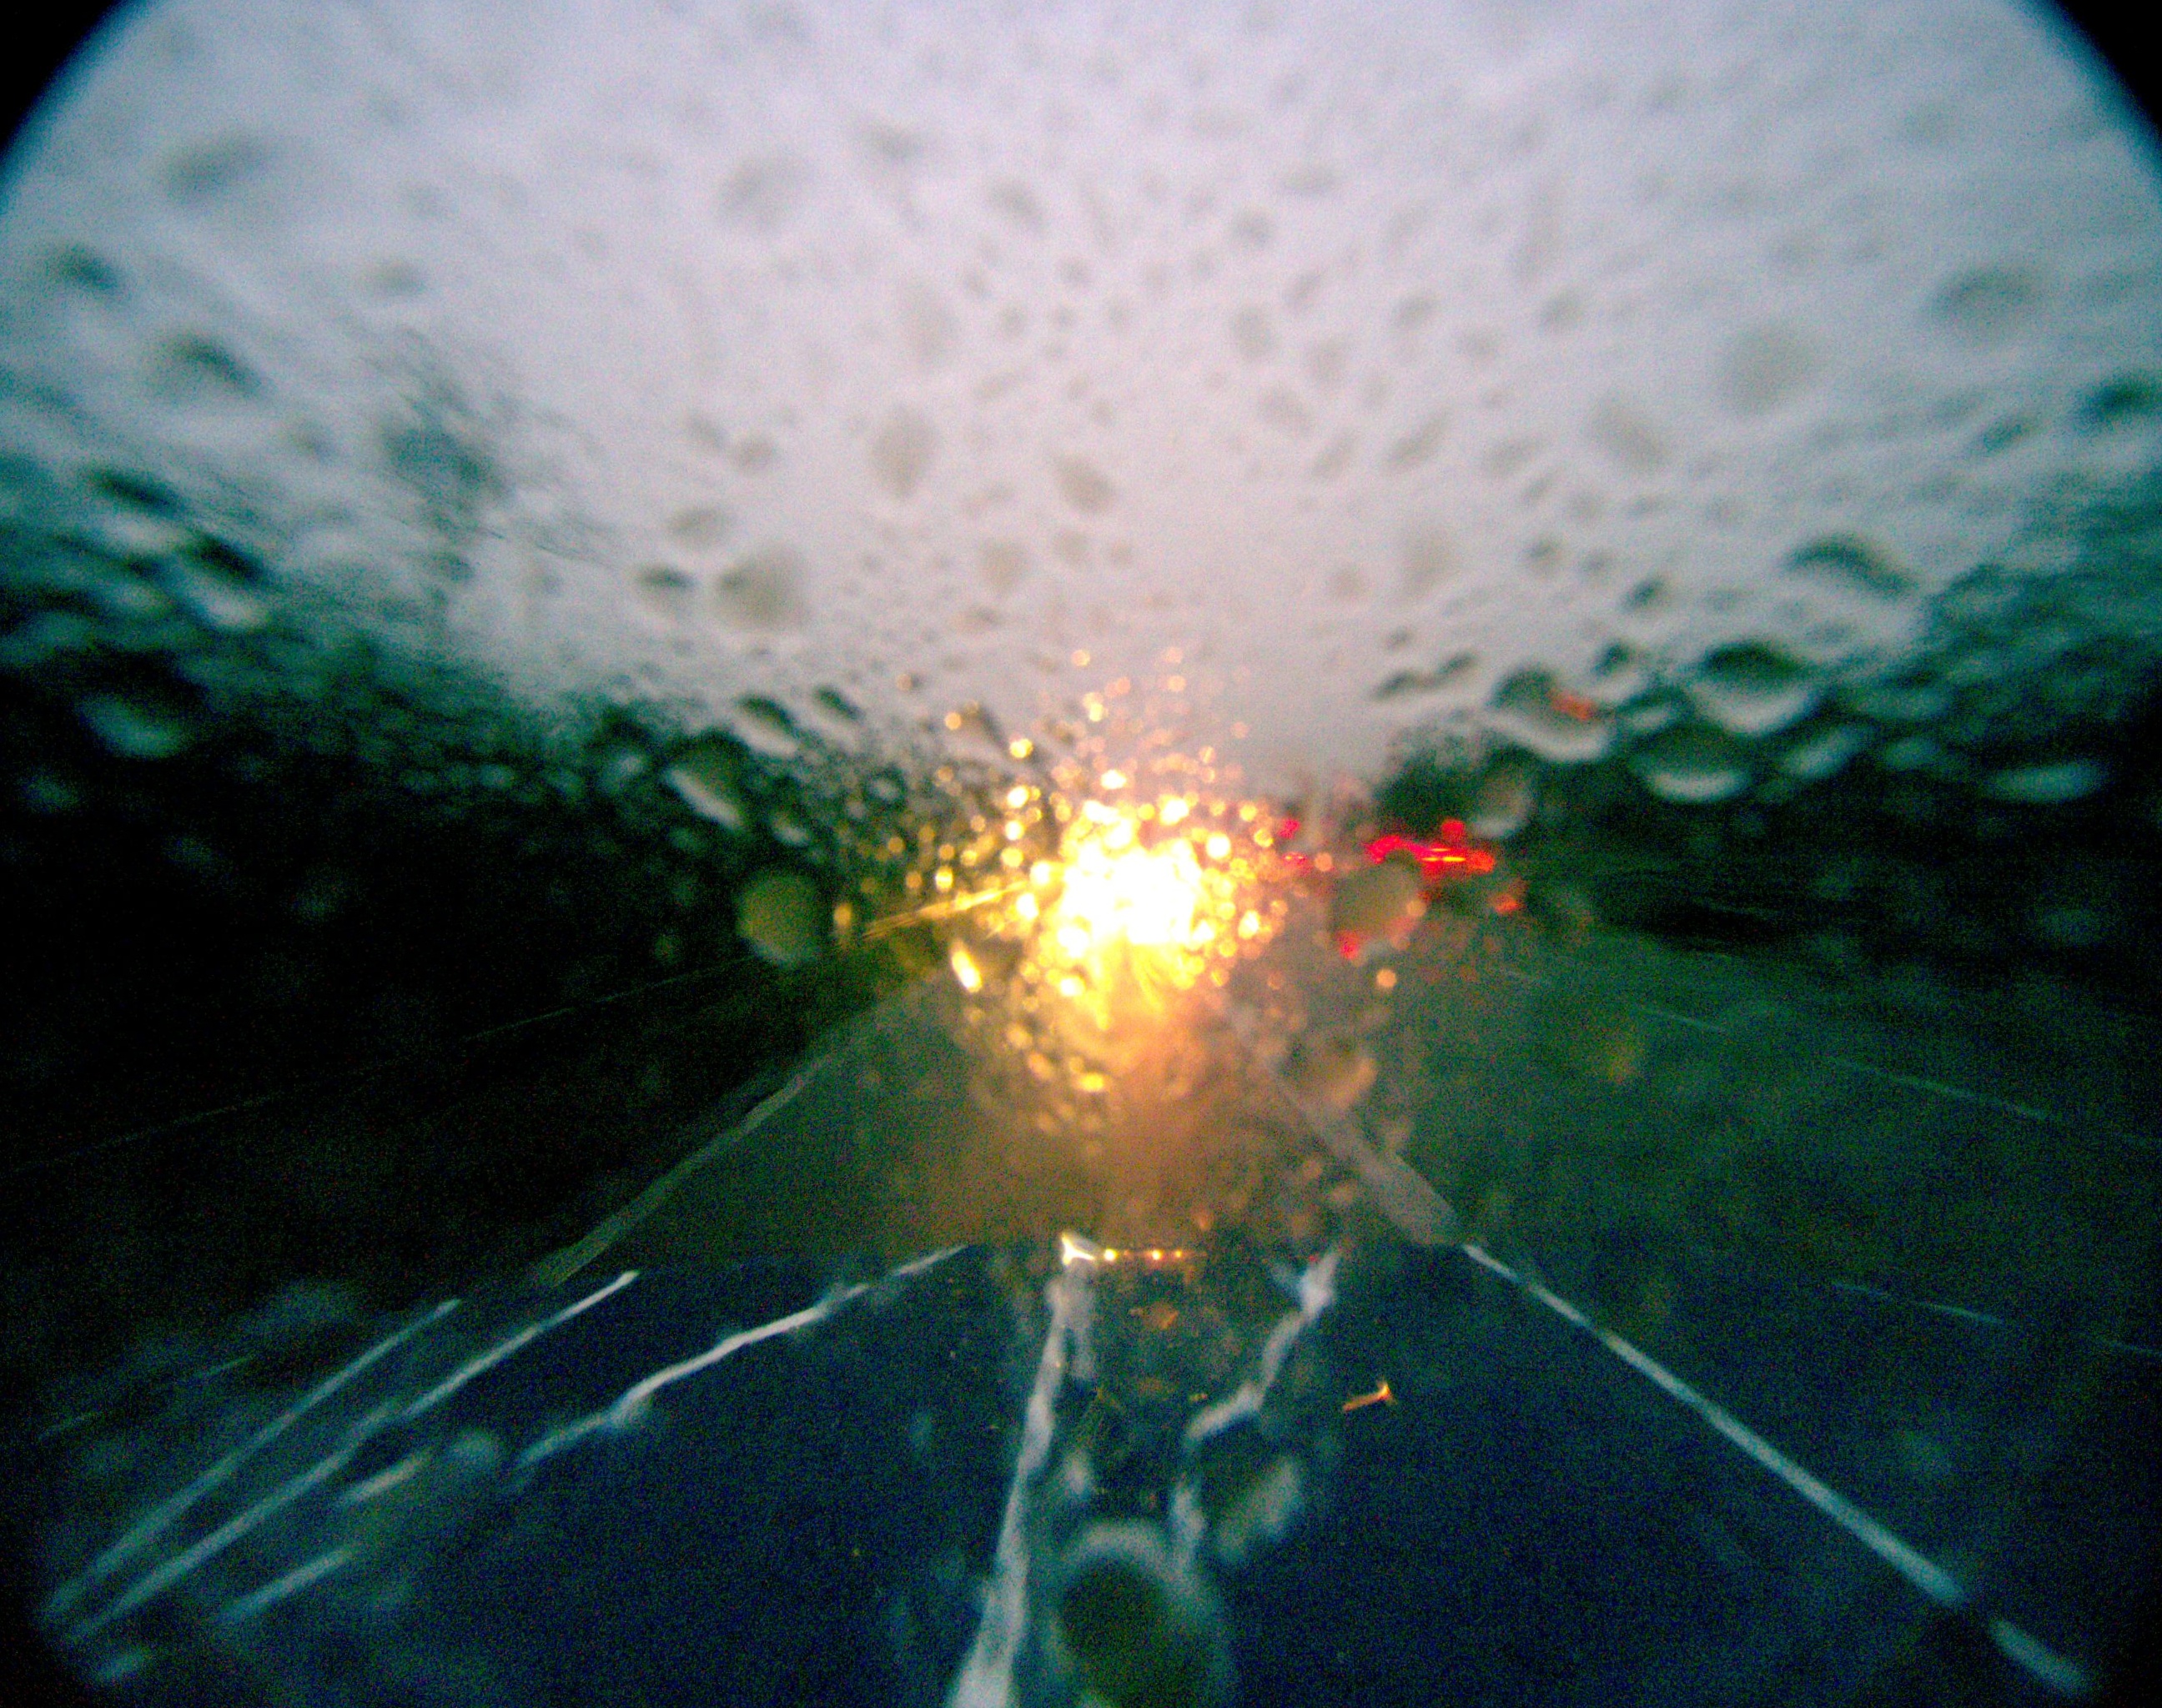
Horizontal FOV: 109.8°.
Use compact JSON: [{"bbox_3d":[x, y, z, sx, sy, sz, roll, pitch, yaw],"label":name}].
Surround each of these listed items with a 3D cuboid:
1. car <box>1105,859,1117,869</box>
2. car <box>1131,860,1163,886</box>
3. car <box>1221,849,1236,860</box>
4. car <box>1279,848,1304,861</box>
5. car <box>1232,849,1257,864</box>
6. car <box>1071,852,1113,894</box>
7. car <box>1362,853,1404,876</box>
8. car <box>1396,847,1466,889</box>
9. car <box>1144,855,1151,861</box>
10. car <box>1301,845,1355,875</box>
[{"bbox_3d":[3.849,1.283,98.237,1.482,1.198,3.350,-3,0,2],"label":"car"},{"bbox_3d":[3.912,1.134,45.772,1.654,1.502,3.875,1,-1,1],"label":"car"},{"bbox_3d":[21.660,0.018,111.649,1.578,1.368,3.842,-3,2,1],"label":"car"},{"bbox_3d":[24.462,0.053,88.326,1.578,1.368,4.782,-3,1,1],"label":"car"},{"bbox_3d":[17.053,0.243,79.215,1.782,1.368,3.842,-3,2,1],"label":"car"},{"bbox_3d":[0.605,0.930,39.142,1.998,2.002,3.964,-1,0,2],"label":"car"},{"bbox_3d":[23.115,0.792,58.288,1.687,1.626,4.204,-1,1,2],"label":"car"},{"bbox_3d":[18.887,0.684,41.156,1.998,2.002,3.999,-3,2,2],"label":"car"},{"bbox_3d":[14.609,0.901,167.099,1.482,1.198,3.350,-3,0,4],"label":"car"},{"bbox_3d":[14.725,0.341,45.563,1.879,1.674,4.381,-2,0,1],"label":"car"}]
